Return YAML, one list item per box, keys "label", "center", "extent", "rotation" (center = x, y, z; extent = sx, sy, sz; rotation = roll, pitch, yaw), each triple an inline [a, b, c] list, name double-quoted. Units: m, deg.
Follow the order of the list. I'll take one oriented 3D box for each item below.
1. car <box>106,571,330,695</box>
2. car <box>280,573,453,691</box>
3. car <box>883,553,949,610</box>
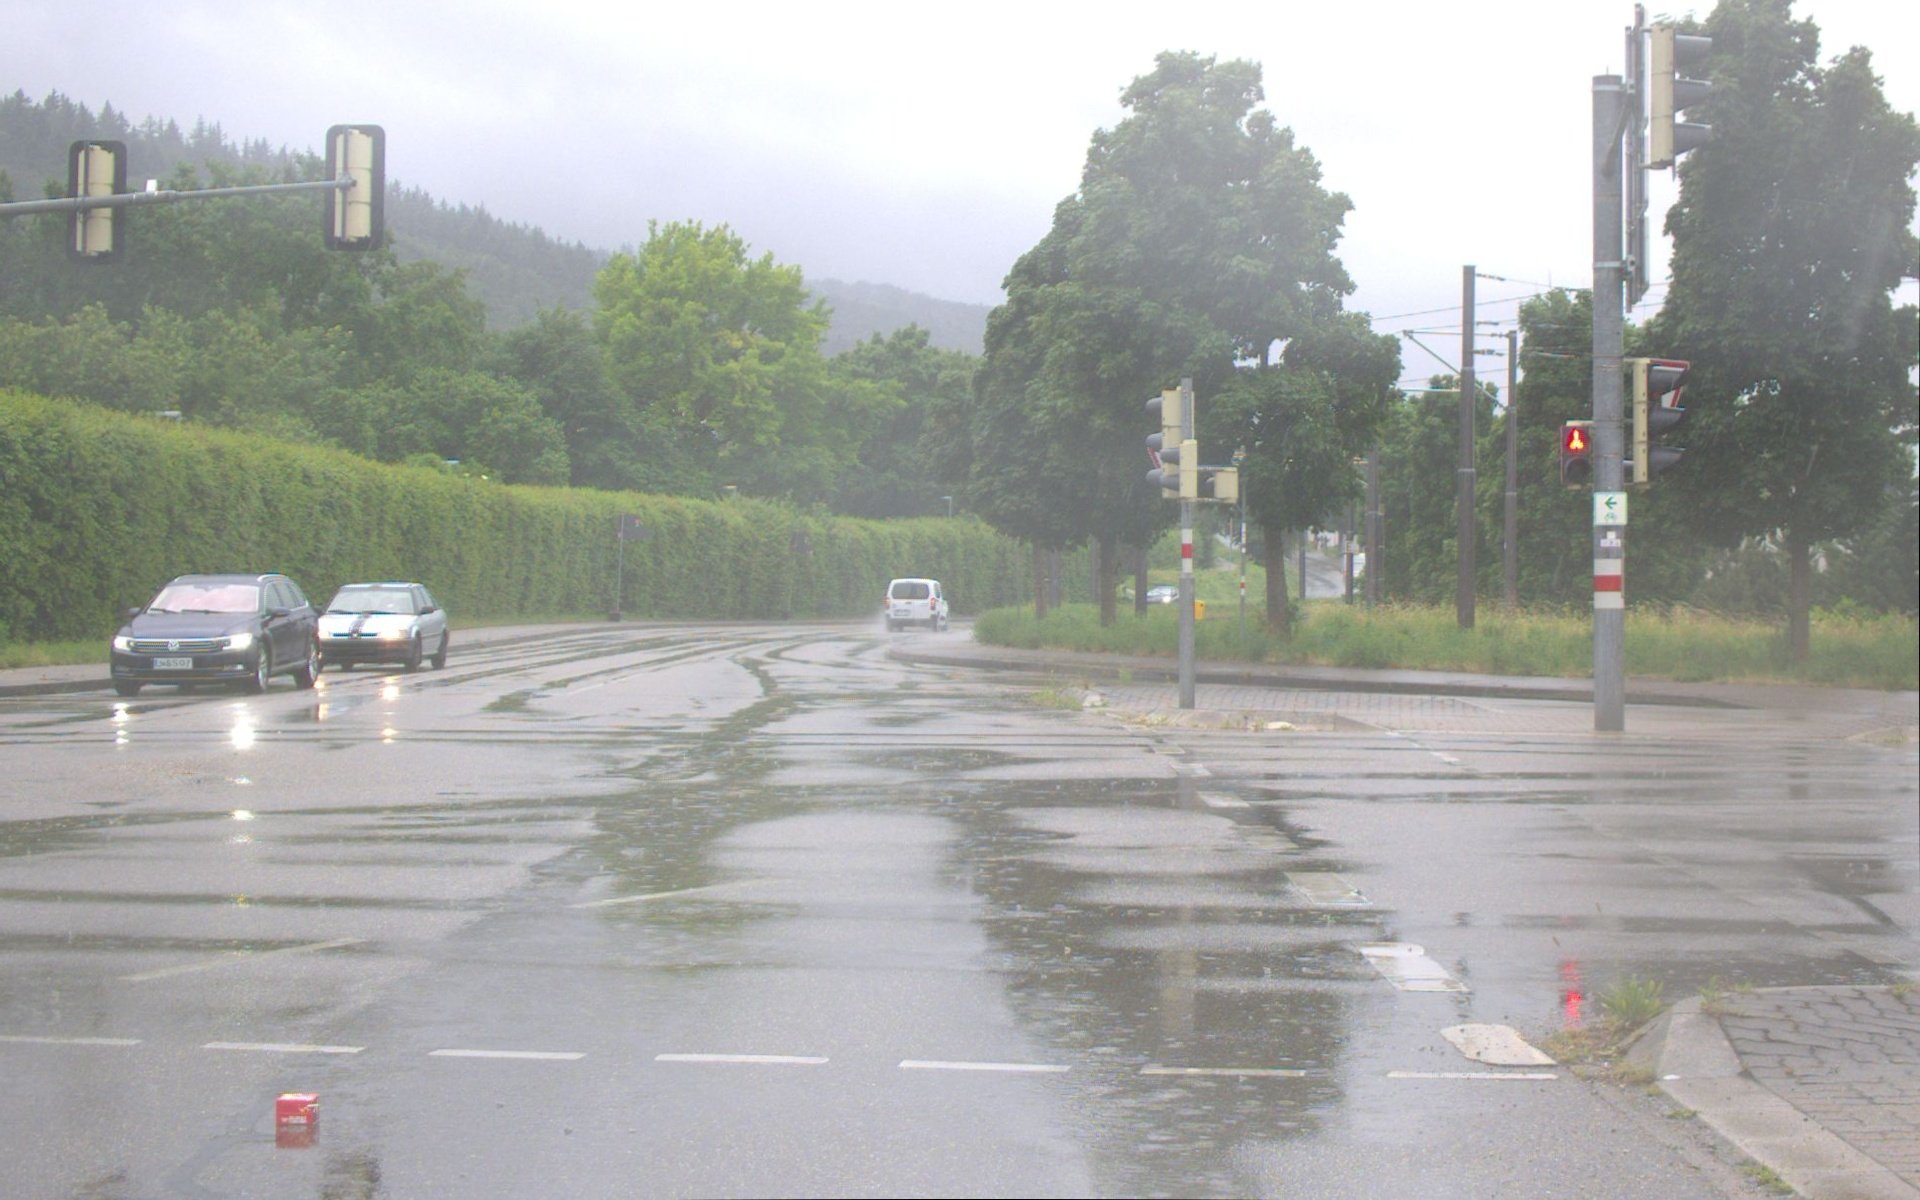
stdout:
- label: "car"
  center: [-9.303, 0.378, 43.439]
  extent: [1.709, 1.461, 4.452]
  rotation: [0, 1, 2]
- label: "car"
  center: [-9.255, 0.473, 53.898]
  extent: [2.036, 1.702, 4.066]
  rotation: [1, 1, -1]
- label: "car"
  center: [-1.479, -0.646, 117.698]
  extent: [1.953, 1.897, 4.119]
  rotation: [0, 1, 4]
